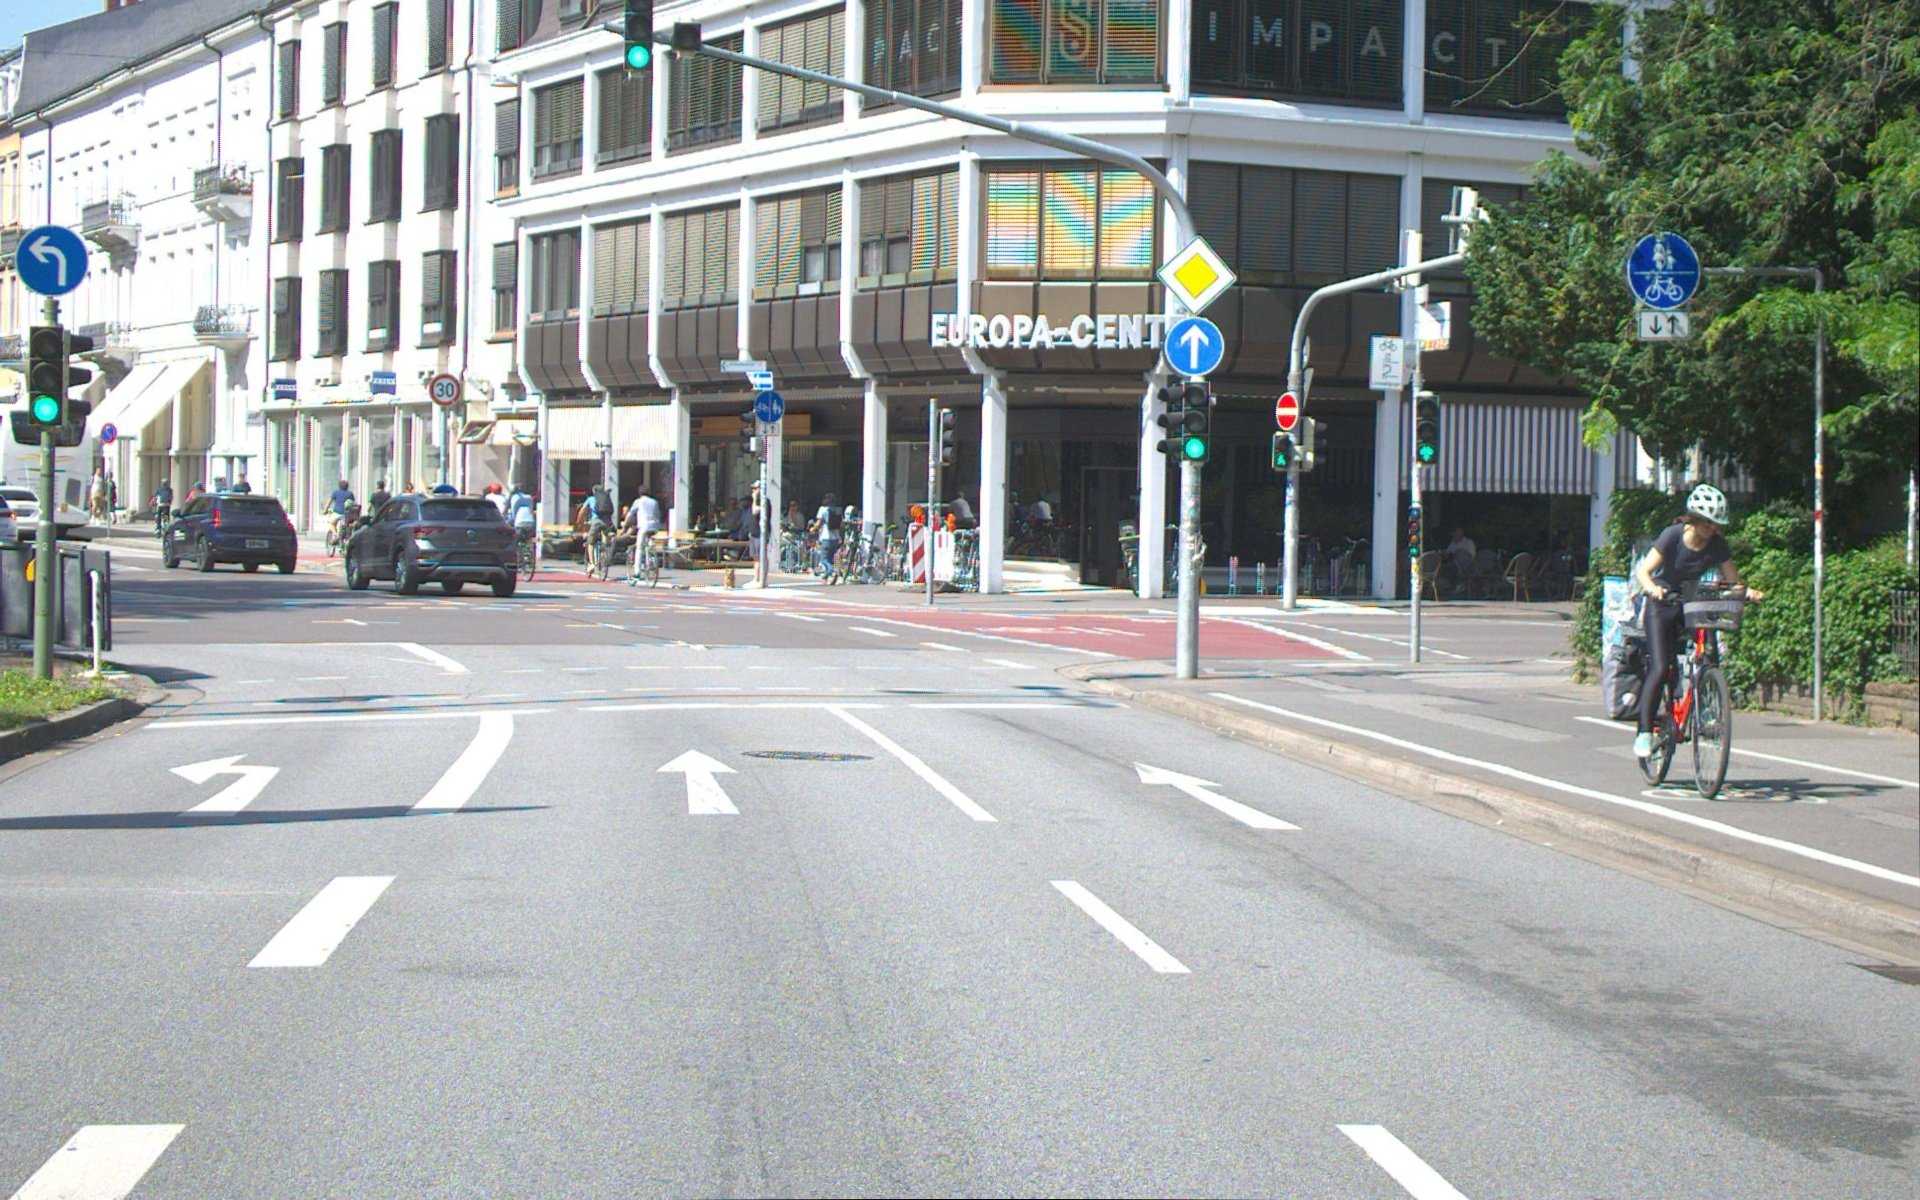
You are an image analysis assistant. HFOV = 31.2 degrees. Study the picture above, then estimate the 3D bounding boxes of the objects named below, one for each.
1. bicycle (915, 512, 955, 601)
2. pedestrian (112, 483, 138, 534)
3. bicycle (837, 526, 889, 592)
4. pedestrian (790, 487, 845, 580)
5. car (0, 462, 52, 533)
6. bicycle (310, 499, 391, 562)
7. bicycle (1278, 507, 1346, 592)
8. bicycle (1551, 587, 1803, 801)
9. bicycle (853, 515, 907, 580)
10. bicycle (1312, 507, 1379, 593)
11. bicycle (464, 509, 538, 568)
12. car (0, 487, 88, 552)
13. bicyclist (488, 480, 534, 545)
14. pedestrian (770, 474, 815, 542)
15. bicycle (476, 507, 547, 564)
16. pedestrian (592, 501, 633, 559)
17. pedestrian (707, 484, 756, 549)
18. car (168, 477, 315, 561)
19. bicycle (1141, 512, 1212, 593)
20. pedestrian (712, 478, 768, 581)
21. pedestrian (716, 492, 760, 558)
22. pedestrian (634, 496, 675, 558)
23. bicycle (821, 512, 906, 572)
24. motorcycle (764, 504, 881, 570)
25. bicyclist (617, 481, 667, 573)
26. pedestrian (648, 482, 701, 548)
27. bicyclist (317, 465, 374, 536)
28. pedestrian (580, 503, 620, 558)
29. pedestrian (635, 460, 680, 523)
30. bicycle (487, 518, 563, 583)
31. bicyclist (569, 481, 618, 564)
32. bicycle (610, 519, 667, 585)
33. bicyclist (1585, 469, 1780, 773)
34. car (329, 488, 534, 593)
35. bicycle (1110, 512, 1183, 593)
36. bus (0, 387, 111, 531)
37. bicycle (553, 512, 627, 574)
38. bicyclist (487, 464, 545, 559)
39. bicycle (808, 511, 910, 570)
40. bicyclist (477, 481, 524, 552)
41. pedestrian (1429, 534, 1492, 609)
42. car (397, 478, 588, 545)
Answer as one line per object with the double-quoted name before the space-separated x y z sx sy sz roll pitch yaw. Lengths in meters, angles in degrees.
"bicycle" -0.423 -0.749 58.845 0.376 1.476 1.058 -5 0 10
"pedestrian" -26.656 -2.928 109.713 0.645 1.611 0.822 1 1 -24
"bicycle" -1.768 -0.747 62.121 0.276 1.116 2.244 1 2 -18
"pedestrian" -2.589 -1.207 62.475 0.832 1.657 0.697 0 1 -18
"car" -20.420 -2.181 72.122 1.862 1.436 4.001 0 2 -26
"bicycle" -13.940 -1.604 78.562 0.978 1.381 3.002 1 1 -27
"bicycle" 6.169 -0.901 60.177 0.530 1.417 1.965 2 3 25
"bicycle" 3.958 0.496 19.142 0.757 1.116 2.002 0 0 -7
"bicycle" -1.457 -0.963 62.421 0.276 1.116 2.244 1 2 -20
"bicycle" 6.740 -0.884 59.997 0.530 1.417 1.965 2 3 25
"bicycle" -8.924 -1.200 66.729 0.620 1.095 2.353 1 1 -28
"car" -22.513 -1.944 83.306 1.833 1.522 4.001 -1 2 -27
"bicyclist" -9.097 -1.767 69.660 0.620 1.292 0.867 1 2 -28
"pedestrian" -3.472 -1.899 71.311 0.711 1.392 0.697 0 1 -27
"bicycle" -9.098 -1.307 69.645 0.620 1.095 2.353 1 2 -28
"pedestrian" -7.309 -1.479 72.325 0.711 1.212 0.697 0 1 -18
"pedestrian" -4.906 -1.796 73.892 0.813 1.392 0.697 0 1 -28
"car" -13.698 -1.544 65.398 1.833 1.522 4.001 -1 2 -25
"bicycle" 3.683 -0.816 58.402 0.530 1.312 1.857 2 3 25
"pedestrian" -3.926 -1.252 61.273 0.832 1.829 0.697 0 1 -18
"pedestrian" -4.716 -1.597 73.046 0.711 1.392 0.697 0 1 -27
"pedestrian" -6.905 -1.652 77.749 0.760 1.363 0.478 0 2 -27
"bicycle" -1.798 -1.086 64.194 1.570 1.116 0.278 -1 3 -19
"motorcycle" -2.695 -1.238 67.702 2.236 1.286 0.948 1 1 2
"bicyclist" -5.659 -1.301 61.145 0.694 1.620 0.836 0 2 -18
"pedestrian" -6.426 -1.911 77.464 0.877 1.363 0.537 8 -2 -28
"bicyclist" -14.071 -2.286 78.699 0.982 1.593 1.056 1 1 -26
"pedestrian" -7.662 -1.471 73.106 0.711 1.169 0.697 0 1 -18
"pedestrian" -6.894 -2.472 78.329 0.744 1.362 0.584 -7 5 -27
"bicycle" -7.929 -0.914 62.582 0.664 1.116 2.244 1 1 -26
"bicyclist" -6.857 -1.459 64.302 0.620 1.524 0.869 1 1 -25
"bicycle" -5.757 -0.861 61.532 0.594 1.116 1.802 1 2 -18
"bicyclist" 3.981 0.108 19.005 0.764 1.630 0.943 0 1 -8
"car" -8.201 -0.940 53.095 1.833 1.522 4.001 -2 2 -29
"bicycle" 3.183 -0.820 58.572 0.530 1.312 1.965 2 3 25
"bus" -27.342 -4.069 98.495 2.881 3.729 12.429 2 1 -27
"bicycle" -6.965 -1.080 64.565 0.620 1.095 2.353 1 2 -25
"bicyclist" -8.117 -1.613 62.859 0.694 1.667 0.916 3 2 -25
"bicycle" -1.925 -1.137 65.972 2.236 1.093 0.277 0 3 -40
"bicyclist" -8.911 -1.629 66.698 0.620 1.350 0.847 1 2 -28
"pedestrian" 9.149 -0.523 62.843 0.828 1.330 0.970 2 2 27
"car" -10.871 -2.040 79.943 4.044 1.489 1.842 0 0 -25
